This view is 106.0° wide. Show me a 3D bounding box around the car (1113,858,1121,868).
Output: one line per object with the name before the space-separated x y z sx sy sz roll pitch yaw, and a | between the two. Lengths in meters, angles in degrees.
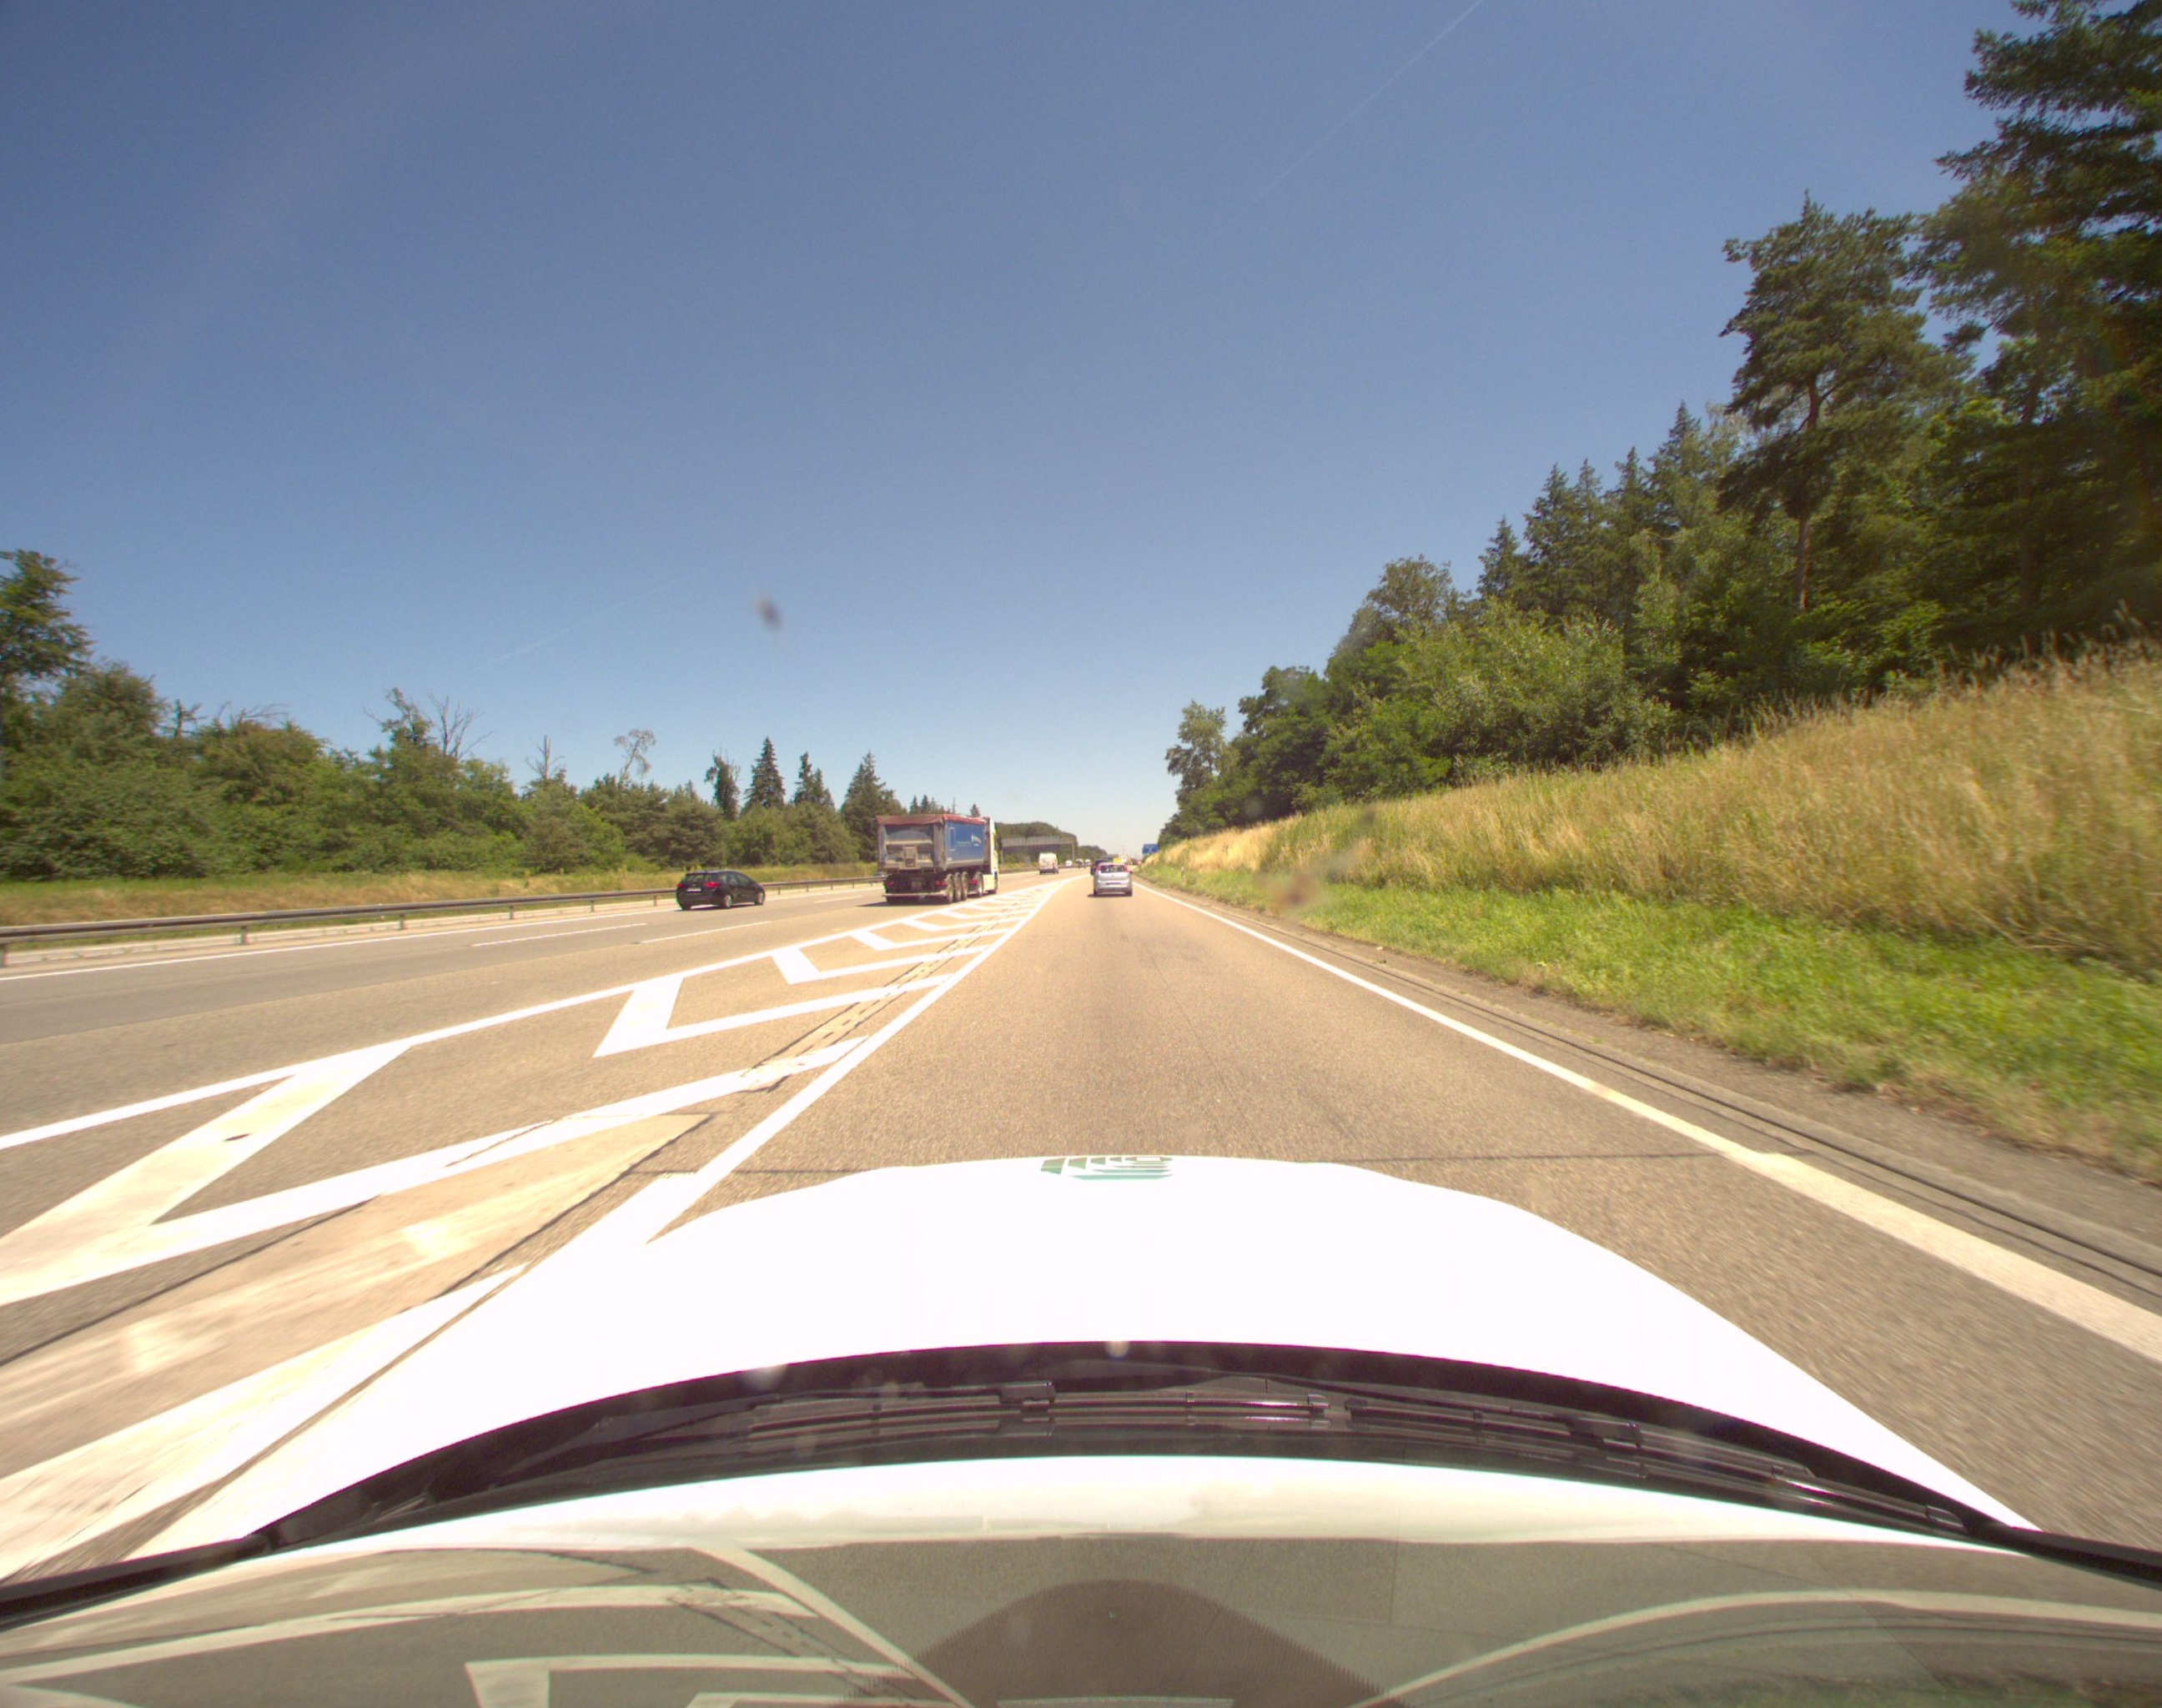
car | 7.868 1.983 178.644 1.606 2.014 4.001 -1 -1 1

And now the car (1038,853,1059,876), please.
car | -4.291 1.369 108.626 2.250 2.951 6.119 -1 -1 4

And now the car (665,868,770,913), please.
car | -13.966 1.352 31.627 1.696 1.474 4.602 -2 0 4

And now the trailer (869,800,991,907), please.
trailer | -5.925 0.001 33.762 2.725 3.758 9.117 -2 0 4

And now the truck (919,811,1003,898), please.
truck | -5.577 0.043 38.865 2.673 3.758 5.949 -2 0 4

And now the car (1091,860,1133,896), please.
car | 1.383 1.014 35.913 1.712 1.491 3.739 -1 0 2

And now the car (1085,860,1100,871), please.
car | 1.617 1.561 112.059 1.886 1.469 4.265 -1 0 3

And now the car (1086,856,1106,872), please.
car | 1.690 1.099 90.024 1.822 1.672 4.006 0 -1 6

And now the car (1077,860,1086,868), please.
car | 0.133 2.560 210.474 2.148 1.814 4.863 -1 0 2
